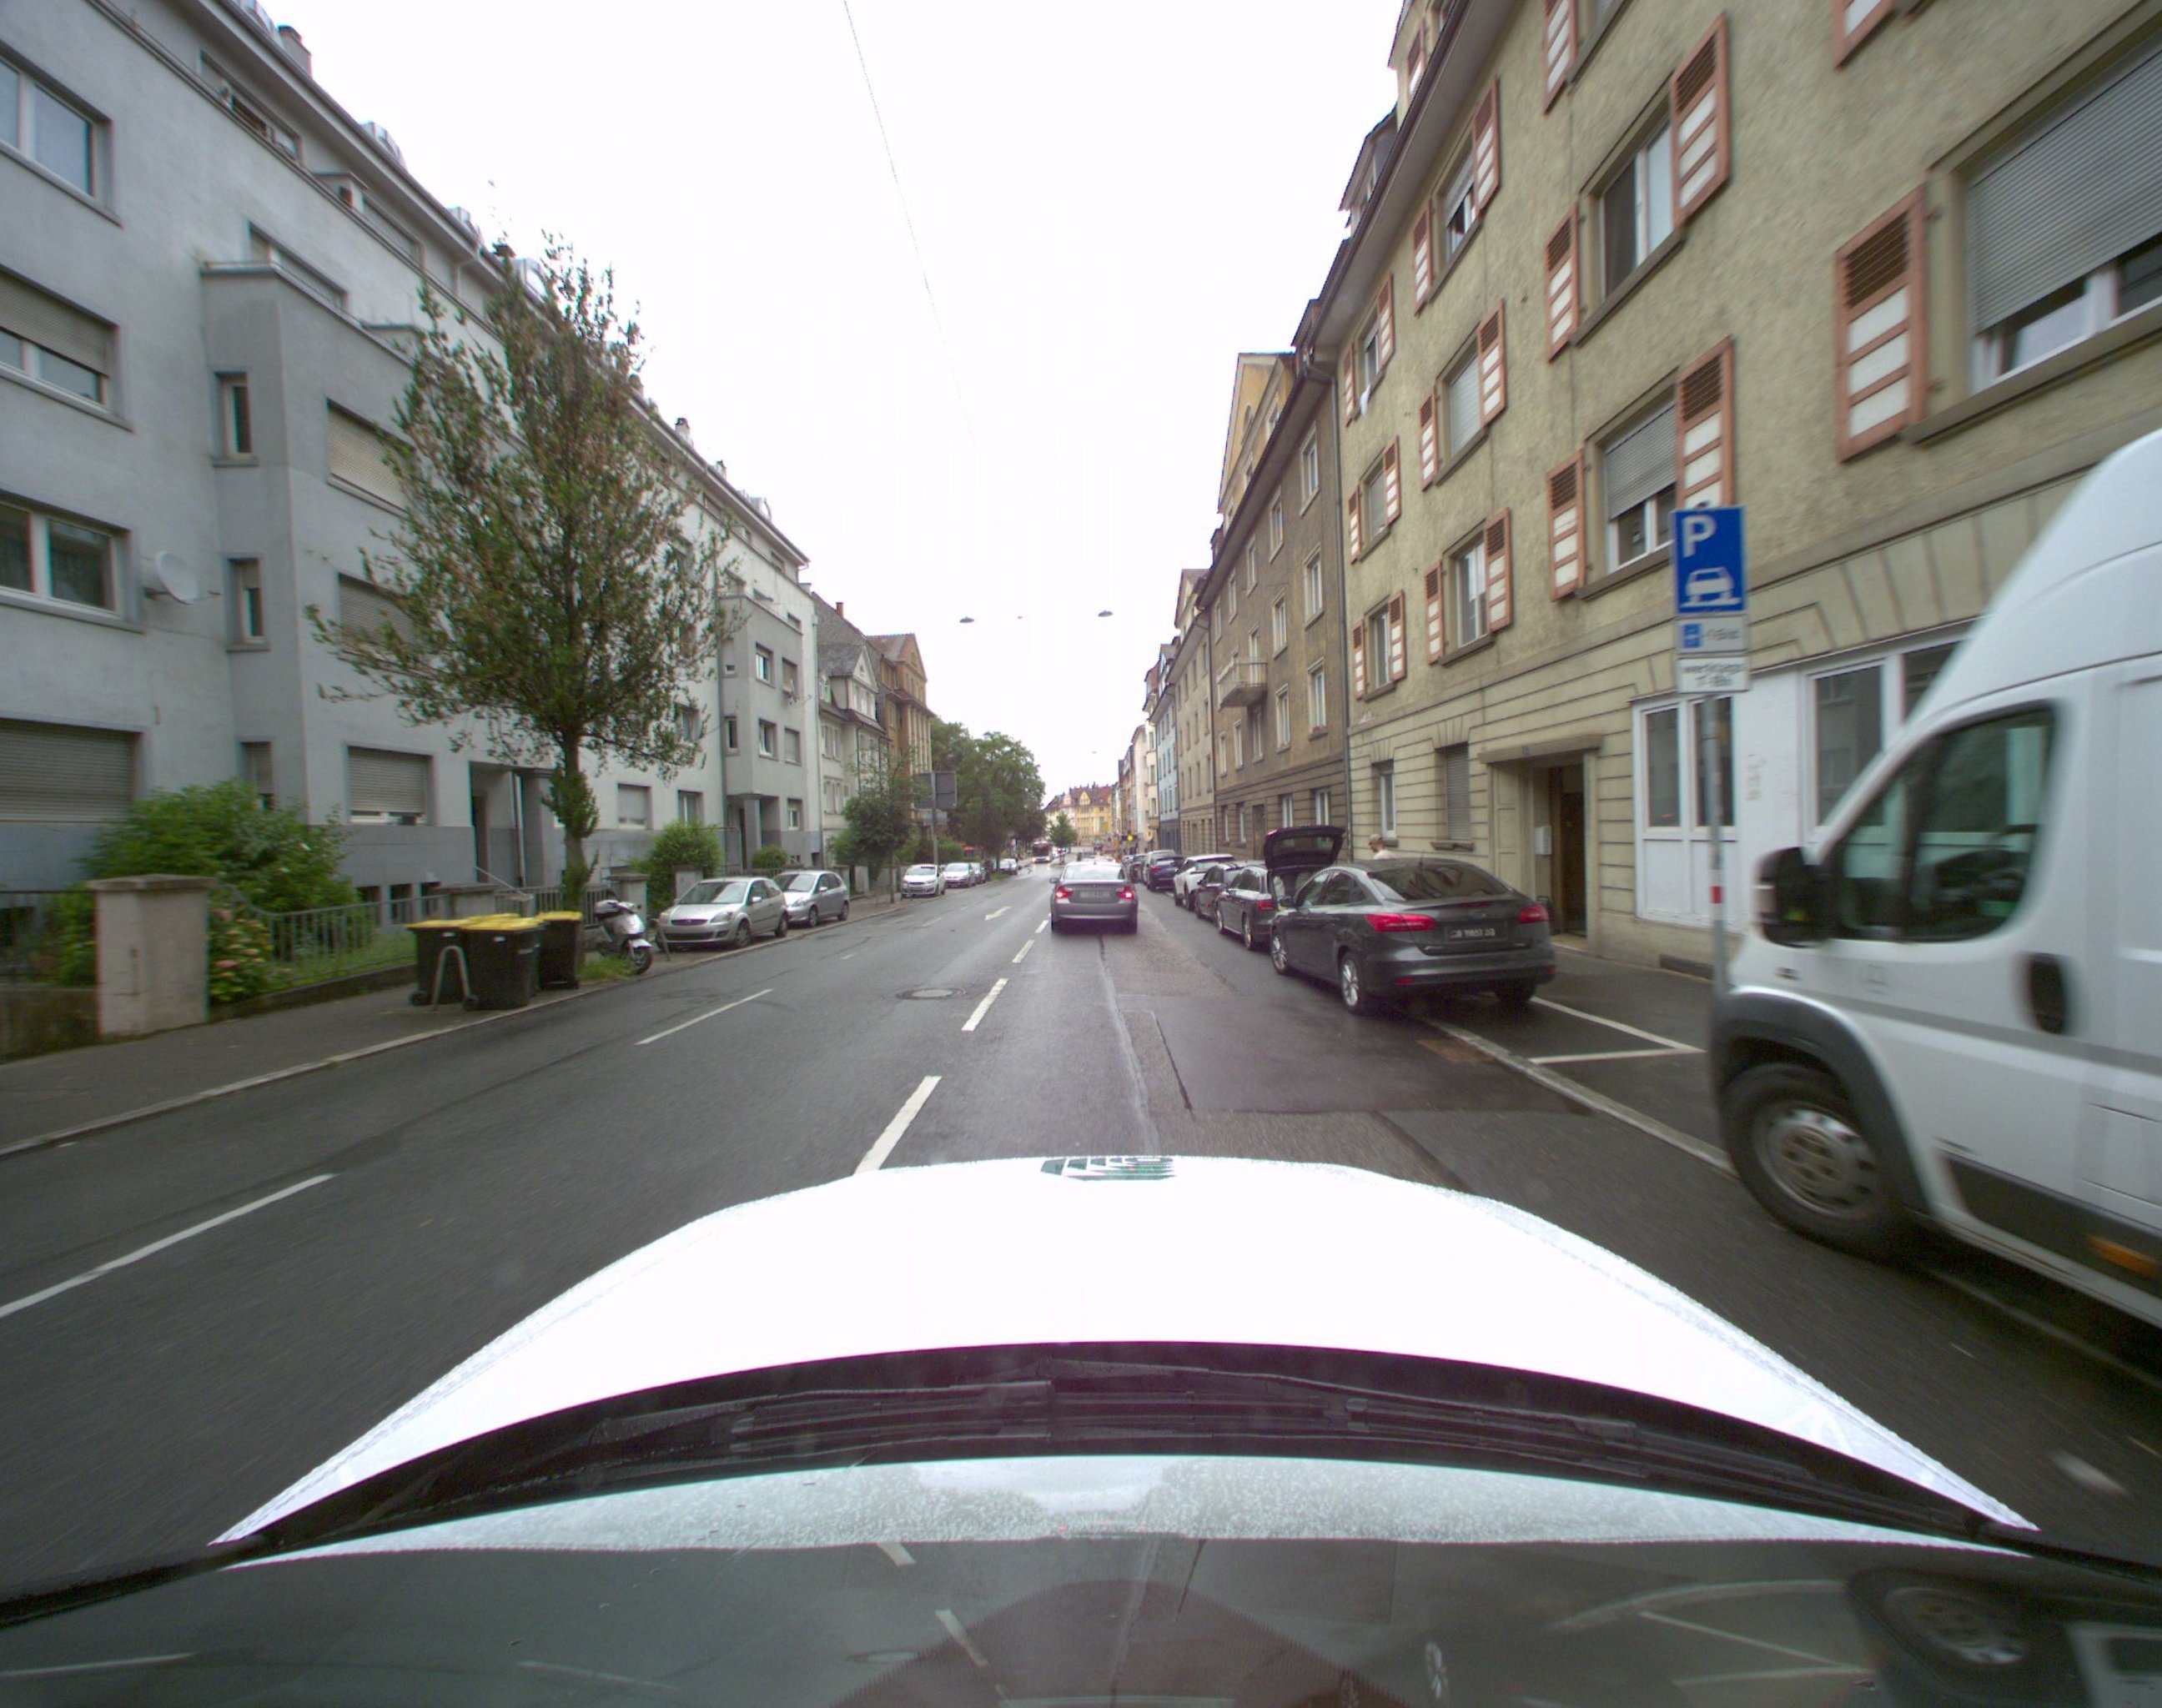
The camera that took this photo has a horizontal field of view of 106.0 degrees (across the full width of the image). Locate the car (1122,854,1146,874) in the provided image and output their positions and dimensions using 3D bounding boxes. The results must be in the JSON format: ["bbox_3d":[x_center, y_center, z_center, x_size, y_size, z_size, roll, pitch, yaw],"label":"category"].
[{"bbox_3d":[4.567,0.836,70.749,1.811,1.557,4.294,-4,0,1],"label":"car"}]

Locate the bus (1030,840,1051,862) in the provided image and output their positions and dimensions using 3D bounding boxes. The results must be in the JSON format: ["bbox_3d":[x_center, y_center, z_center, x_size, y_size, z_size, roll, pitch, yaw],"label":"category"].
[{"bbox_3d":[-6.280,-0.394,127.603,2.673,3.201,11.951,1,-1,0],"label":"bus"}]

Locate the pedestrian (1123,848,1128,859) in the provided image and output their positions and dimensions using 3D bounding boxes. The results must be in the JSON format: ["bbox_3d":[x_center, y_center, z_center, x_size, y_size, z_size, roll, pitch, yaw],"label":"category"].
[{"bbox_3d":[6.602,-0.115,120.638,0.746,1.661,0.756,1,-1,8],"label":"pedestrian"}]

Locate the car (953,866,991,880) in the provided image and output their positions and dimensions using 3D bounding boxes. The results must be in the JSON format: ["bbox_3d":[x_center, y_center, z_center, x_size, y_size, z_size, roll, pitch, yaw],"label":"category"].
[{"bbox_3d":[-11.514,2.008,86.068,3.804,1.390,1.742,-1,-1,-1],"label":"car"}]

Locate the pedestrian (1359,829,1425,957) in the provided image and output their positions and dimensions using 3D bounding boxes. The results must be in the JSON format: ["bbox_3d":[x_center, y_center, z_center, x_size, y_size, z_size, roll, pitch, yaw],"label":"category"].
[{"bbox_3d":[4.556,0.559,11.919,0.704,1.787,0.691,-5,-2,26],"label":"pedestrian"}]

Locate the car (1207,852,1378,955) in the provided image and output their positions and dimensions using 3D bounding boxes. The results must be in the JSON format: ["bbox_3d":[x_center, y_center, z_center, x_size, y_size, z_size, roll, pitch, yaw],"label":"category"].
[{"bbox_3d":[3.523,0.779,14.489,1.772,1.479,4.586,-2,-1,-1],"label":"car"}]

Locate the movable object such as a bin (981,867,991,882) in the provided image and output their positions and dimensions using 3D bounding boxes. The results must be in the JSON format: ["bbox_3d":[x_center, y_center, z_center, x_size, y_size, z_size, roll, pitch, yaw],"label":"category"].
[{"bbox_3d":[-6.939,1.479,59.736,0.627,1.058,0.600,-2,-1,0],"label":"movable object such as a bin"}]

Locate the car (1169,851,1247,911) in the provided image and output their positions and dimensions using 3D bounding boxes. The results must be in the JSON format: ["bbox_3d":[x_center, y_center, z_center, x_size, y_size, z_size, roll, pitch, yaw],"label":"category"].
[{"bbox_3d":[3.748,0.756,24.648,1.627,1.638,4.193,1,-1,-1],"label":"car"}]

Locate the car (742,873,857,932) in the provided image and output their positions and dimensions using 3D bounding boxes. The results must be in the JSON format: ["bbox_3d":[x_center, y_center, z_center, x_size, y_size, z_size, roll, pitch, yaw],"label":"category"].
[{"bbox_3d":[-7.792,1.298,22.917,1.593,1.451,3.892,-2,-1,4],"label":"car"}]

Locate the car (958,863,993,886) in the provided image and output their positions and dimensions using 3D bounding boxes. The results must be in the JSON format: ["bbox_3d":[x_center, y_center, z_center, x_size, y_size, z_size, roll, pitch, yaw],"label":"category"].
[{"bbox_3d":[-7.045,1.361,54.686,1.677,1.390,3.936,-3,0,1],"label":"car"}]

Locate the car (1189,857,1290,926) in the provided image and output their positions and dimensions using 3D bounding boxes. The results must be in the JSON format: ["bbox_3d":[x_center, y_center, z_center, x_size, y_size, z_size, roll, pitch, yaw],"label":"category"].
[{"bbox_3d":[3.672,0.827,19.452,1.627,1.479,3.733,1,-1,-1],"label":"car"}]

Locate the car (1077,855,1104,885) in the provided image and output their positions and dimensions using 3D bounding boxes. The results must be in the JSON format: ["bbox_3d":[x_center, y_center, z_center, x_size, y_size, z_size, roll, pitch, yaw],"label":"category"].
[{"bbox_3d":[0.635,1.148,58.174,1.700,2.014,3.997,1,-1,-2],"label":"car"}]

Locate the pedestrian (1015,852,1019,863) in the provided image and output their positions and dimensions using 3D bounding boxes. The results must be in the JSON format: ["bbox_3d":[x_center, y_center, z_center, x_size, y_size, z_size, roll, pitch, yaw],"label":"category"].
[{"bbox_3d":[-9.605,0.499,121.735,0.542,1.709,0.465,1,-1,-6],"label":"pedestrian"}]

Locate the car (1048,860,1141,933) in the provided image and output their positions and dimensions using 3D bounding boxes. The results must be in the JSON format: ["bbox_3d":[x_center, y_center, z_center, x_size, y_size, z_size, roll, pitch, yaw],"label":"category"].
[{"bbox_3d":[0.273,0.832,16.984,1.750,1.362,3.164,0,-1,0],"label":"car"}]

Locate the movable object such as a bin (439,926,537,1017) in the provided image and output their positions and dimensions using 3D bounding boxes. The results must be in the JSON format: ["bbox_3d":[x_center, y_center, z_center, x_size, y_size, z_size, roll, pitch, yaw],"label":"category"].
[{"bbox_3d":[-7.323,1.438,10.076,0.822,1.058,0.484,1,-1,1],"label":"movable object such as a bin"}]

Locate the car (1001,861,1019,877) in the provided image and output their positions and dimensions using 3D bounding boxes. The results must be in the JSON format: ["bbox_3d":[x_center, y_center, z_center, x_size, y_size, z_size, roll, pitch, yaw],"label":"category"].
[{"bbox_3d":[-6.831,1.465,78.476,1.628,1.454,3.835,-2,0,-3],"label":"car"}]

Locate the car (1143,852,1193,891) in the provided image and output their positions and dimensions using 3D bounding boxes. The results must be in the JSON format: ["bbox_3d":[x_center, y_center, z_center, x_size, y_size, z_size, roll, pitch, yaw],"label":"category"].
[{"bbox_3d":[3.842,0.727,36.546,1.784,1.548,4.226,-3,0,1],"label":"car"}]

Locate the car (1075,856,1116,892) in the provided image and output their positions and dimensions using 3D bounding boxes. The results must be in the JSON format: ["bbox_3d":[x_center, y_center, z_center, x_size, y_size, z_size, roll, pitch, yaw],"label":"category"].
[{"bbox_3d":[0.575,0.851,34.948,1.597,1.420,3.285,1,-1,-2],"label":"car"}]

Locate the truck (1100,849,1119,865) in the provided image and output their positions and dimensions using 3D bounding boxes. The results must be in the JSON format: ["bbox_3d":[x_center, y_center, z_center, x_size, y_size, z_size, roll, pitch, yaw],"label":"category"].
[{"bbox_3d":[3.979,0.379,114.278,2.209,2.117,4.649,2,-1,-2],"label":"truck"}]

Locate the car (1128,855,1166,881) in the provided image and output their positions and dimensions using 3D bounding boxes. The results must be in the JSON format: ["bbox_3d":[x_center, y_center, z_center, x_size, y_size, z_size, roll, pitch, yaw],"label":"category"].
[{"bbox_3d":[3.990,0.826,49.522,1.835,1.409,4.386,-4,0,-1],"label":"car"}]

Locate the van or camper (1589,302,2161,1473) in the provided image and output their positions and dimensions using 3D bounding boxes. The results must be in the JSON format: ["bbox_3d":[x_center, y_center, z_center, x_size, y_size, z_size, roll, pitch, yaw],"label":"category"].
[{"bbox_3d":[3.477,0.066,1.045,2.173,2.699,6.432,-3,0,7],"label":"van or camper"}]

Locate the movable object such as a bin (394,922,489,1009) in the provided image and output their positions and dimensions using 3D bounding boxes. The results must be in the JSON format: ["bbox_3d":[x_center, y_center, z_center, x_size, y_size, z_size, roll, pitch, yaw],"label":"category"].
[{"bbox_3d":[-8.226,1.420,10.494,0.822,1.058,0.484,0,-1,1],"label":"movable object such as a bin"}]

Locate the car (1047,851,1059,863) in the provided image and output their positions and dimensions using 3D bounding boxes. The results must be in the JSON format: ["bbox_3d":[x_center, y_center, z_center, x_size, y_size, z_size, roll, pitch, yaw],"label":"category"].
[{"bbox_3d":[-5.064,0.532,148.321,1.987,2.014,3.998,0,-1,-1],"label":"car"}]

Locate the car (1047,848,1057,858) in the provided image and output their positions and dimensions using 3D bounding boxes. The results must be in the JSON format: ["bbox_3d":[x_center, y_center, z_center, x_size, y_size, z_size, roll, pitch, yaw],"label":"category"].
[{"bbox_3d":[-5.832,-0.155,163.700,1.987,2.014,3.998,1,-1,-1],"label":"car"}]

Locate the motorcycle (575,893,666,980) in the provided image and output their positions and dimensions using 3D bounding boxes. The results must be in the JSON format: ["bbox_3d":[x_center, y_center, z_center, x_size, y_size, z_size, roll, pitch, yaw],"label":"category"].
[{"bbox_3d":[-7.689,1.331,13.557,1.788,1.315,0.746,-3,0,42],"label":"motorcycle"}]

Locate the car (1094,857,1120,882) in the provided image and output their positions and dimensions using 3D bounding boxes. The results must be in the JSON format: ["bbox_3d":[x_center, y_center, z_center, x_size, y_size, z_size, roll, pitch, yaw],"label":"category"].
[{"bbox_3d":[1.478,0.882,46.163,1.430,1.357,3.763,1,-1,2],"label":"car"}]

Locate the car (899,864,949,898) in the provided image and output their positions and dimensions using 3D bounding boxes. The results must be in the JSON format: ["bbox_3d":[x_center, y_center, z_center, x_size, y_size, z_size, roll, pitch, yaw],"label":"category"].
[{"bbox_3d":[-7.354,1.246,38.505,1.641,1.508,3.795,-2,-1,-1],"label":"car"}]

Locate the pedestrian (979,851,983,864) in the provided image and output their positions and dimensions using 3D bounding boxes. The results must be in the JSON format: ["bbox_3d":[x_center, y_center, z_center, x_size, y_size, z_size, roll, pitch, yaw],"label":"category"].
[{"bbox_3d":[-14.219,0.532,115.510,0.464,1.790,0.543,1,-1,-6],"label":"pedestrian"}]

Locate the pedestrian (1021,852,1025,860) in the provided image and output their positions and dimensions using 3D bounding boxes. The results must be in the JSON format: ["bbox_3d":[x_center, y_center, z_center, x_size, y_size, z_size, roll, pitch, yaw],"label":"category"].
[{"bbox_3d":[-9.751,0.372,137.794,0.617,1.378,0.545,1,-1,1],"label":"pedestrian"}]

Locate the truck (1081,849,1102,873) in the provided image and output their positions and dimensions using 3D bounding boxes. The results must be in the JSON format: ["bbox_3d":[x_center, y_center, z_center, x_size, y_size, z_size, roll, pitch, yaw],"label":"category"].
[{"bbox_3d":[1.126,0.842,89.893,2.210,2.544,4.778,1,-1,0],"label":"truck"}]

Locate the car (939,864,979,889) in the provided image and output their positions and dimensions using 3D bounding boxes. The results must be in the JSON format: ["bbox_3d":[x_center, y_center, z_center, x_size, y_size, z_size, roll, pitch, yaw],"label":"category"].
[{"bbox_3d":[-7.257,1.327,48.710,1.677,1.390,3.910,-1,0,1],"label":"car"}]

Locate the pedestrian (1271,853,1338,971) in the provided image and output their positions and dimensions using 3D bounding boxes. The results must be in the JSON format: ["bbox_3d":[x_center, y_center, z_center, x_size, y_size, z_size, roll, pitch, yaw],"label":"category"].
[{"bbox_3d":[3.447,0.882,12.598,0.628,1.690,0.635,-9,-2,1],"label":"pedestrian"}]

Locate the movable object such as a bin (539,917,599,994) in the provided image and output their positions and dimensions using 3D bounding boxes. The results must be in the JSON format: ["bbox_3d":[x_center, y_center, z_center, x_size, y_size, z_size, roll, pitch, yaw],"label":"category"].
[{"bbox_3d":[-7.376,1.452,11.753,0.522,1.058,0.484,1,-1,1],"label":"movable object such as a bin"}]

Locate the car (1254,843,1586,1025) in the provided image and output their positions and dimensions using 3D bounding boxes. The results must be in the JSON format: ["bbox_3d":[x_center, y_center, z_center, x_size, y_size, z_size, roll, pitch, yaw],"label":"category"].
[{"bbox_3d":[3.346,0.713,9.048,1.773,1.479,4.185,-2,-1,-2],"label":"car"}]

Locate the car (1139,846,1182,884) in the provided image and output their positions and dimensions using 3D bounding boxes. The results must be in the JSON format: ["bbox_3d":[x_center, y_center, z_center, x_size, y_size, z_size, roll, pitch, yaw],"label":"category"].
[{"bbox_3d":[4.118,0.565,42.900,1.785,1.817,4.080,-3,0,0],"label":"car"}]

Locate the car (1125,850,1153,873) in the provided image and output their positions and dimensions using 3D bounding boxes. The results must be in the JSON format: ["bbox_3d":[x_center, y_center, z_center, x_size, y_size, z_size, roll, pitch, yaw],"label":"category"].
[{"bbox_3d":[4.184,0.522,59.179,1.723,1.429,3.973,-5,0,0],"label":"car"}]

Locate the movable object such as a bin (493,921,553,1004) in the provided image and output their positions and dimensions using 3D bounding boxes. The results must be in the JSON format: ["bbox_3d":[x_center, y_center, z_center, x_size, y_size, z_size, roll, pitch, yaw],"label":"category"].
[{"bbox_3d":[-7.502,1.448,10.959,0.471,1.058,0.482,1,-1,-9],"label":"movable object such as a bin"}]

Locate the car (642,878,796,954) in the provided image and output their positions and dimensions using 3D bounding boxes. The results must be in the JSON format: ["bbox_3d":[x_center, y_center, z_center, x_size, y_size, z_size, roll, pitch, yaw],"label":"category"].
[{"bbox_3d":[-7.754,1.271,17.854,1.595,1.396,3.886,-2,-1,0],"label":"car"}]

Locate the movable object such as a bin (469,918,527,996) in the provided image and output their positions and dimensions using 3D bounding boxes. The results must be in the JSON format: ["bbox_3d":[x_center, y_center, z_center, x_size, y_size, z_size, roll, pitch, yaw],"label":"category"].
[{"bbox_3d":[-8.261,1.449,11.561,0.471,1.058,0.482,1,-1,-9],"label":"movable object such as a bin"}]

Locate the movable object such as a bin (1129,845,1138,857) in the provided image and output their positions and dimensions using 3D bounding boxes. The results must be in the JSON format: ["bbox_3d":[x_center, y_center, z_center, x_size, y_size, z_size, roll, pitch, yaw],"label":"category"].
[{"bbox_3d":[7.800,-0.468,121.360,1.119,1.702,1.432,-3,-1,-2],"label":"movable object such as a bin"}]

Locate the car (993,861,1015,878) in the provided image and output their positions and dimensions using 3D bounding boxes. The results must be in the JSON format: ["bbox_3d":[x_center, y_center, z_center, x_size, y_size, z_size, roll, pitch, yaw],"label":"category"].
[{"bbox_3d":[-6.986,1.358,73.966,1.649,1.454,3.940,-2,0,-1],"label":"car"}]
